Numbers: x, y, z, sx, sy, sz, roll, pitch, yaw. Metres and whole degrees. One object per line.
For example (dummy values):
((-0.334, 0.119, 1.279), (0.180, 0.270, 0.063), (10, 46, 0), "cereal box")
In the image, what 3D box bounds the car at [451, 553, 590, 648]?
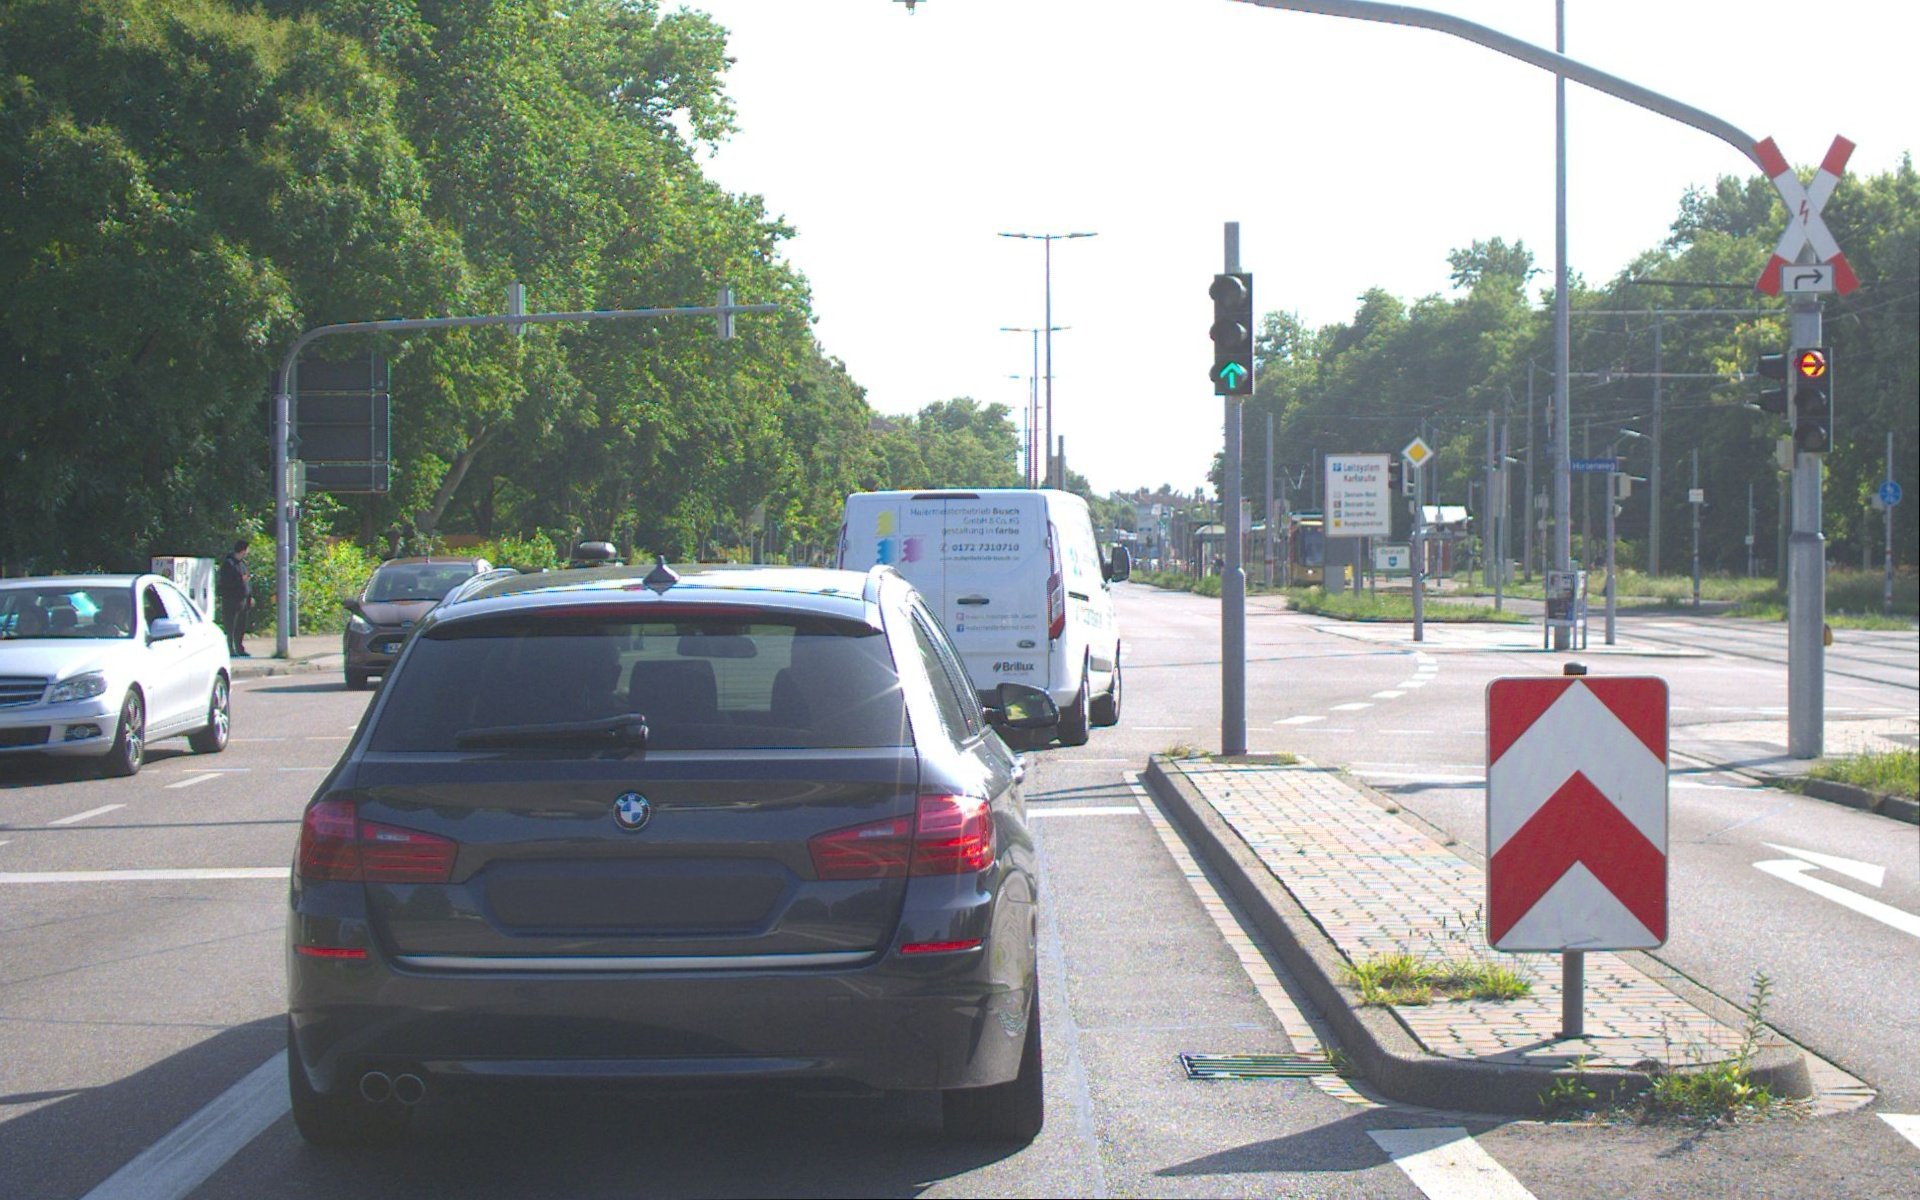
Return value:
((-7.144, -0.023, 56.249), (1.888, 1.469, 4.100), (-1, 1, -2), "car")

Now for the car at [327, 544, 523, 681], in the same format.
((-6.557, 0.115, 42.506), (1.745, 1.556, 4.000), (-2, 1, 0), "car")

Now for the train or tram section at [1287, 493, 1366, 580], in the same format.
((16.013, -2.704, 150.942), (2.796, 3.606, 12.954), (1, 0, 3), "train or tram section")

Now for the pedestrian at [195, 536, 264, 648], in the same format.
((-11.509, -0.141, 54.190), (0.816, 1.746, 0.931), (0, 1, 5), "pedestrian")

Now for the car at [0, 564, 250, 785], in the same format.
((-6.650, 0.496, 25.605), (1.702, 1.460, 4.369), (-2, 1, 1), "car")

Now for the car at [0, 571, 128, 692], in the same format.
((-12.159, 0.377, 41.115), (1.783, 1.410, 4.237), (0, 1, 33), "car")

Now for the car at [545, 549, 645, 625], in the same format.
((-7.520, -0.288, 71.138), (1.788, 1.515, 4.000), (-1, 1, -2), "car")

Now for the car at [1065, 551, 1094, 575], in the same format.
((7.535, -2.324, 216.320), (1.793, 1.481, 3.899), (0, 1, 2), "car")

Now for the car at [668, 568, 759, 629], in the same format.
((-6.946, -0.053, 97.215), (1.989, 1.653, 4.384), (0, 1, 4), "car")

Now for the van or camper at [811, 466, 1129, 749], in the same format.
((0.180, 0.020, 27.856), (1.994, 2.089, 4.597), (0, 1, 8), "van or camper")

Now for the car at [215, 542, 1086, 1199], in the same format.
((-0.700, 0.595, 9.563), (1.903, 1.500, 4.065), (0, 1, -1), "car")
